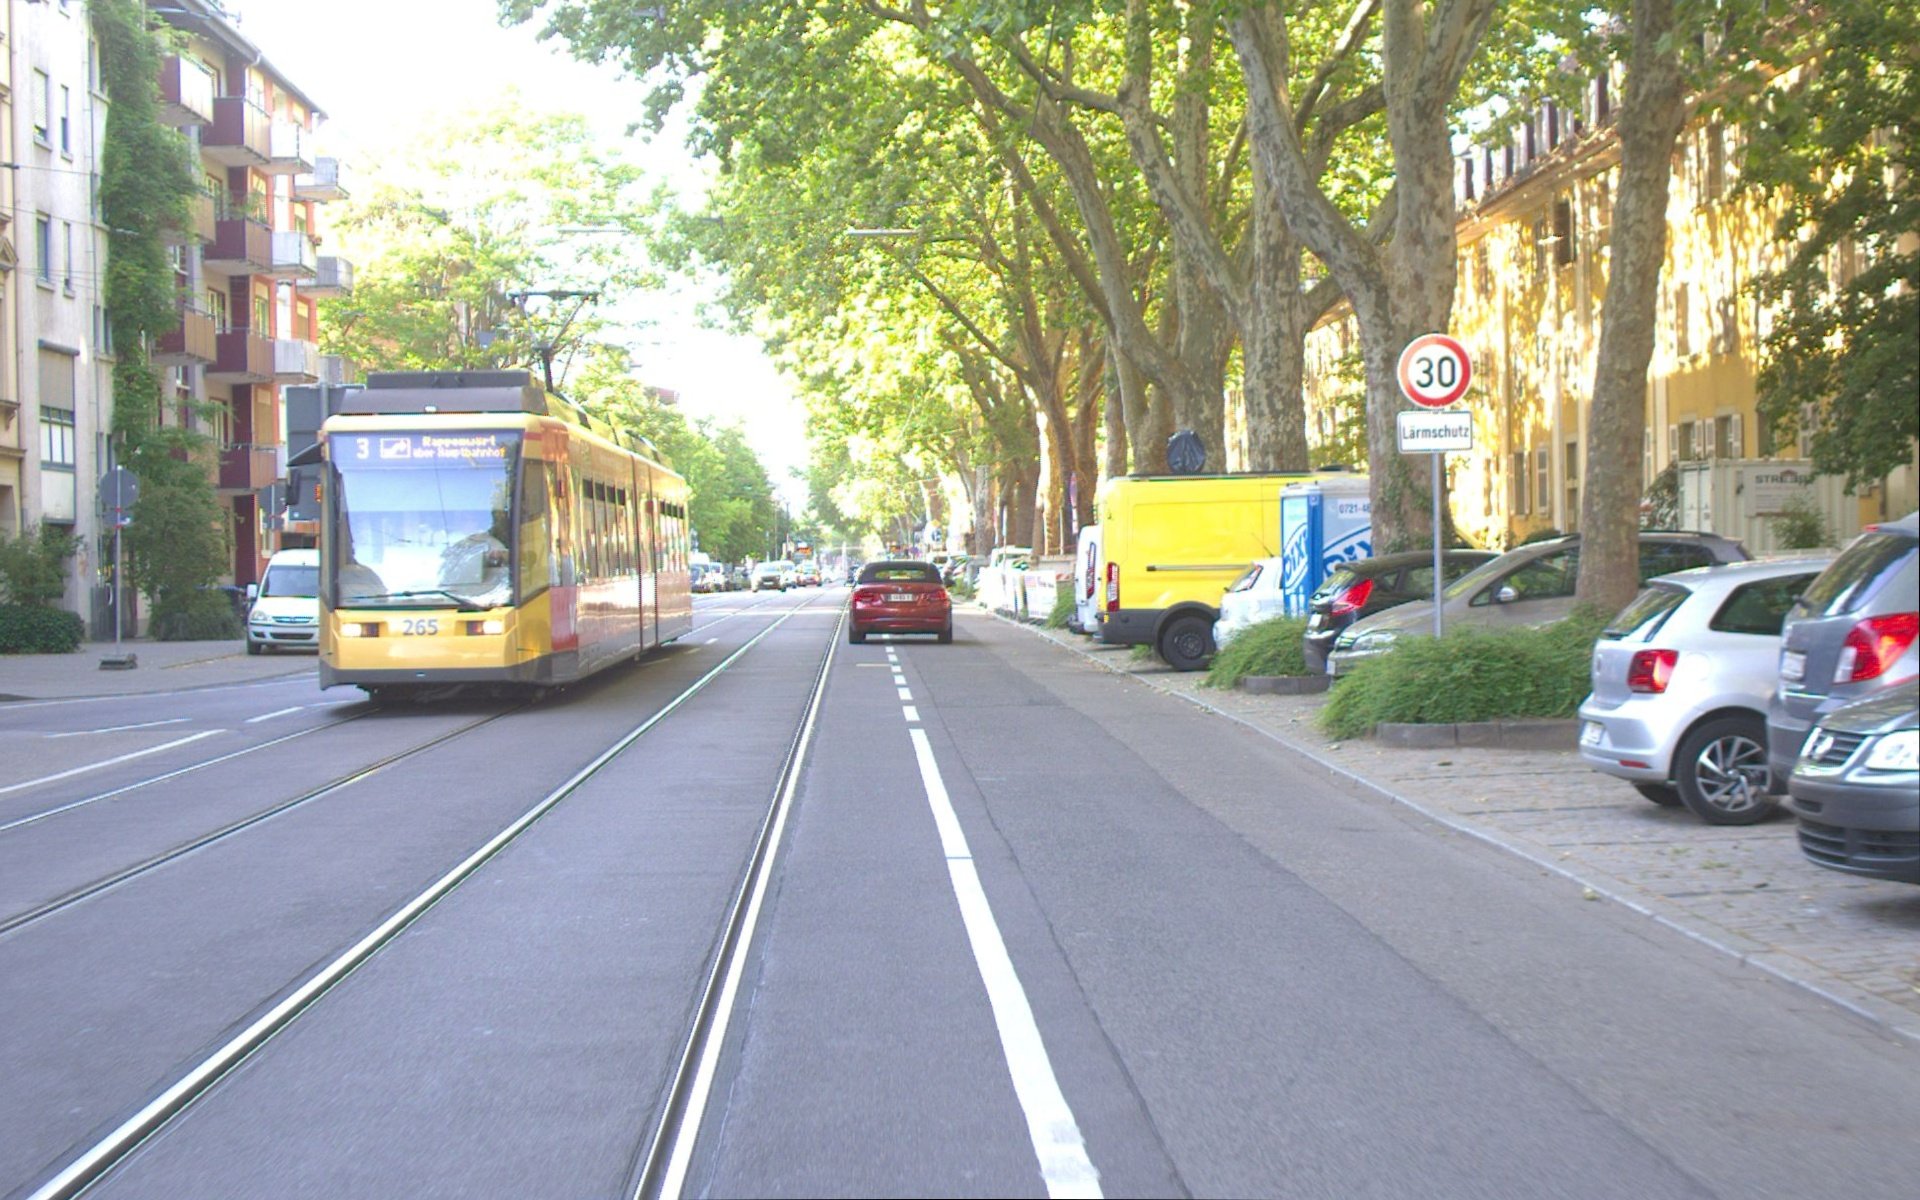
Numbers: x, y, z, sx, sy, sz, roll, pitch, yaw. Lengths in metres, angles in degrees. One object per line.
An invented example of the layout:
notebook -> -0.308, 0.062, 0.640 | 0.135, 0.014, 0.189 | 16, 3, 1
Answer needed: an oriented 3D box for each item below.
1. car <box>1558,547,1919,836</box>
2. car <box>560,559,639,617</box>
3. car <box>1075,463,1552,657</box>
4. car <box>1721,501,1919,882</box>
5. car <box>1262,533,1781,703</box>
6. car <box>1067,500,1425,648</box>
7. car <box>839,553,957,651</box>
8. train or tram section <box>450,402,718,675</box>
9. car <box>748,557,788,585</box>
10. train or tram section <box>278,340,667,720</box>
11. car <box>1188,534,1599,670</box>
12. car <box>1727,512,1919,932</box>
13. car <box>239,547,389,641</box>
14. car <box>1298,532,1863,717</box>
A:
car -> 5.987, 0.457, 19.770 | 4.712, 1.528, 1.920 | -1, 1, -1
car -> -10.212, -0.353, 97.677 | 1.893, 1.559, 4.393 | -1, 1, -2
car -> 4.528, -0.521, 44.708 | 5.945, 2.358, 2.061 | -1, 1, 0
car -> 6.252, 0.350, 16.532 | 4.712, 1.716, 1.920 | -1, 1, -1
car -> 5.475, 0.154, 33.896 | 4.711, 1.528, 1.920 | -1, 1, -4
car -> 4.469, -0.418, 54.371 | 5.442, 2.184, 2.061 | -1, 1, 0
car -> -1.061, 0.037, 59.715 | 1.893, 1.559, 4.393 | -3, 0, -1
train or tram section -> -5.520, -0.916, 52.803 | 2.832, 3.626, 12.818 | -1, 1, -1
car -> -10.541, -1.598, 188.224 | 1.993, 1.504, 4.001 | -1, 1, -6
train or tram section -> -5.269, -0.768, 39.808 | 2.861, 3.626, 13.199 | -1, 1, -1
car -> 5.264, 0.008, 42.165 | 4.711, 1.528, 1.920 | -1, 1, -3
car -> 5.733, 0.401, 14.082 | 4.712, 1.596, 1.920 | -1, 1, 0
car -> -11.284, -0.135, 60.292 | 1.893, 1.559, 4.393 | -1, 1, -2
car -> 5.569, 0.197, 31.238 | 4.711, 1.528, 1.920 | -1, 1, -3
